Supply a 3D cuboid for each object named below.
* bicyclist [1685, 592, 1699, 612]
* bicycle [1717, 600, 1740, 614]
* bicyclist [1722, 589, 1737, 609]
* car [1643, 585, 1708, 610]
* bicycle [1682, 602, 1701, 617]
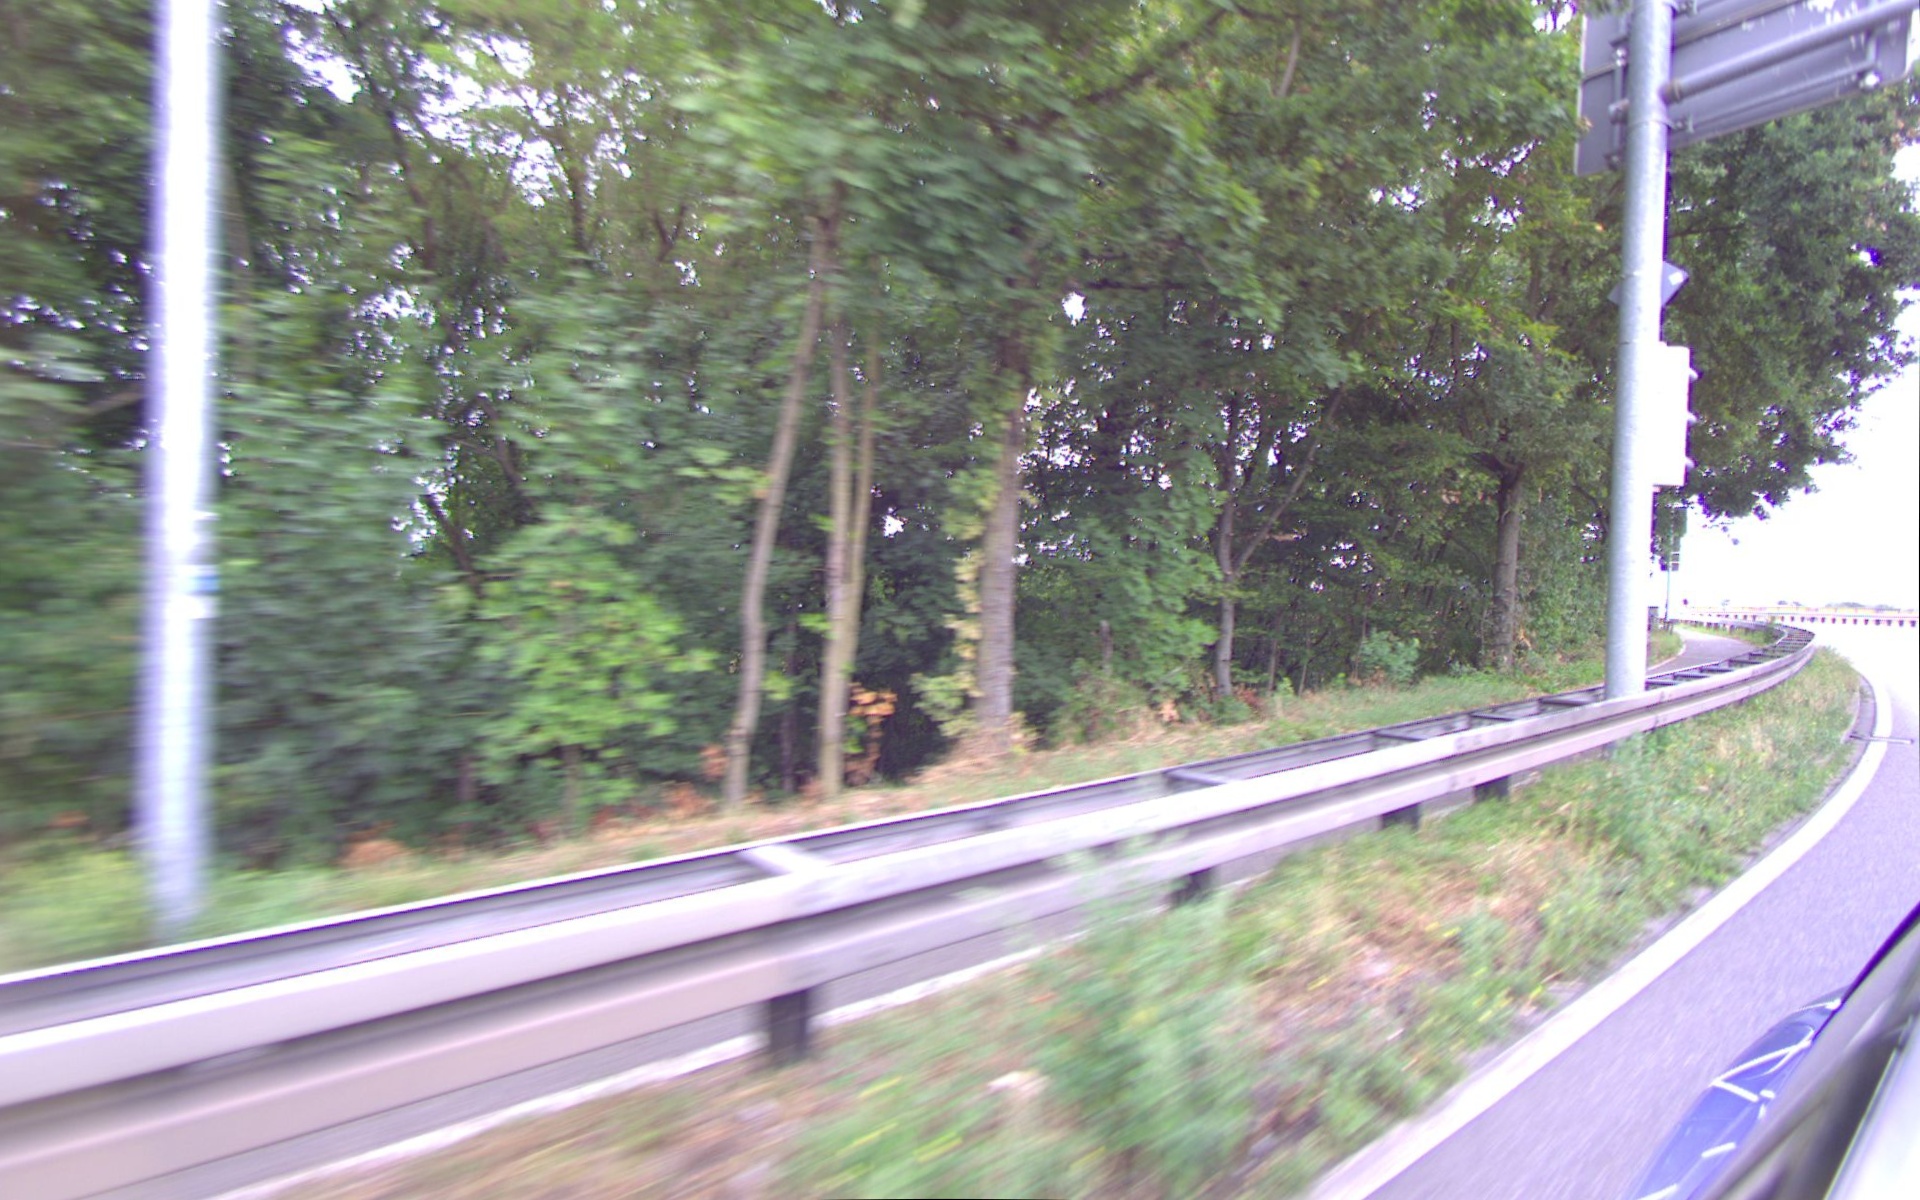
[{"bbox_3d":[62.042,0.176,85.789,0.763,1.652,0.646,1,1,17],"label":"bicyclist"},{"bbox_3d":[59.551,0.543,78.409,0.485,1.058,1.808,1,0,4],"label":"bicycle"},{"bbox_3d":[59.563,-0.067,78.297,0.601,1.559,0.756,1,0,4],"label":"bicyclist"},{"bbox_3d":[47.531,-0.166,67.322,1.907,1.474,3.876,4,1,9],"label":"car"},{"bbox_3d":[62.043,0.788,85.838,0.627,1.189,1.898,1,0,13],"label":"bicycle"}]
